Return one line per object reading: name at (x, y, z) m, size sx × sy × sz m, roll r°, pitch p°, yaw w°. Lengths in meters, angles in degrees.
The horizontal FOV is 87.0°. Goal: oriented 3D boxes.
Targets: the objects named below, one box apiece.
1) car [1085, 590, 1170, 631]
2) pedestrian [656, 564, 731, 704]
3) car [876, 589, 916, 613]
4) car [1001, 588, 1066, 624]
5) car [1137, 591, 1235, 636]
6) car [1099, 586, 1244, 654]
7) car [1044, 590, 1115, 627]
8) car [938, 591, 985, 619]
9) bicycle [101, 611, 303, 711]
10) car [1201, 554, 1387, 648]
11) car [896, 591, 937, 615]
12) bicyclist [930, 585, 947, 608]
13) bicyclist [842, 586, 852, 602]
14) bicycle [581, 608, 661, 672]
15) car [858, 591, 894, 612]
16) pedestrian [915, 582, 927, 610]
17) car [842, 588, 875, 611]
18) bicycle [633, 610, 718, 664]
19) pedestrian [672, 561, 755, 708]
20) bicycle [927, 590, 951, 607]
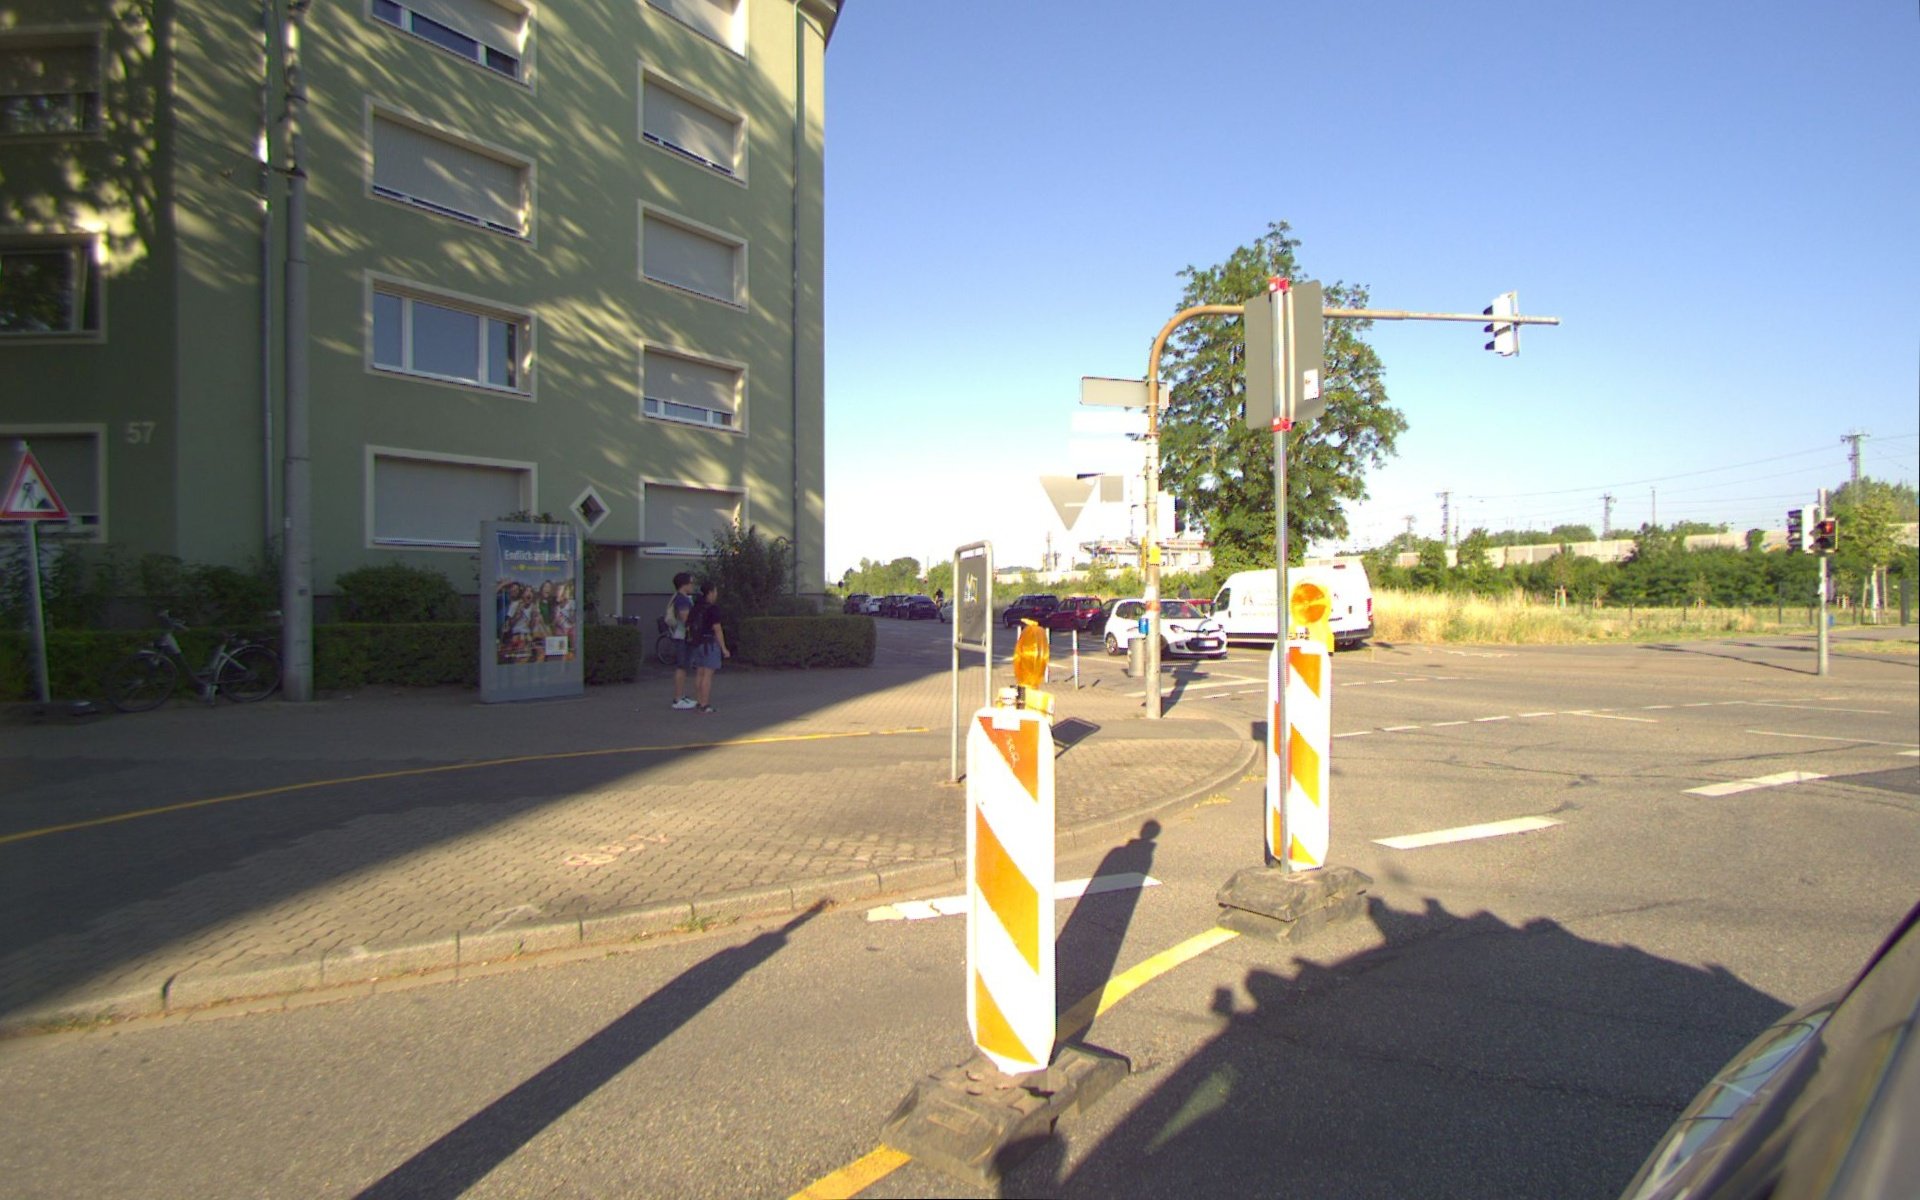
car at (6.659, 0.383, 40.644) m, size 1.710 × 1.549 × 3.824 m, roll -1°, pitch 0°, yaw -20°
pedestrian at (-3.514, 0.419, 13.318) m, size 0.779 × 1.772 × 0.694 m, roll -1°, pitch 0°, yaw -30°
car at (-4.657, 0.050, 73.103) m, size 1.787 × 1.658 × 4.228 m, roll -1°, pitch 0°, yaw -18°
car at (3.519, 0.259, 49.035) m, size 1.630 × 1.680 × 4.014 m, roll -1°, pitch 0°, yaw -20°
car at (8.087, 0.447, 36.503) m, size 1.710 × 1.505 × 3.702 m, roll -1°, pitch 0°, yaw -20°
car at (5.071, 0.435, 24.733) m, size 1.670 × 1.487 × 3.783 m, roll -1°, pitch 0°, yaw -21°
car at (5.242, 0.353, 44.733) m, size 1.630 × 1.549 × 3.586 m, roll -1°, pitch 0°, yaw -20°
car at (0.039, 0.258, 59.201) m, size 1.672 × 1.545 × 3.590 m, roll -1°, pitch 0°, yaw -19°
bicycle at (-9.111, 0.697, 12.229) m, size 1.903 × 1.070 × 0.519 m, roll -1°, pitch 0°, yaw -45°
car at (9.882, 0.002, 30.531) m, size 2.190 × 2.466 × 5.572 m, roll -4°, pitch 2°, yaw -21°
car at (-2.924, 0.173, 67.652) m, size 1.787 × 1.545 × 4.298 m, roll -1°, pitch 0°, yaw -16°
bicyclist at (-1.526, -0.234, 72.530) m, size 0.849 × 1.617 × 1.148 m, roll -1°, pitch 0°, yaw -22°
bicyclist at (-11.157, -0.604, 100.110) m, size 0.753 × 1.617 × 1.148 m, roll -1°, pitch 0°, yaw -18°
bicycle at (-6.046, 0.687, 17.968) m, size 1.927 × 1.070 × 0.513 m, roll 0°, pitch 0°, yaw 44°
car at (-6.524, 0.095, 78.173) m, size 1.787 × 1.594 × 4.228 m, roll -1°, pitch 0°, yaw -18°
pedestrian at (-2.943, -0.308, 76.296) m, size 0.603 × 2.039 × 0.732 m, roll -1°, pitch 0°, yaw -22°
car at (-8.441, -0.077, 83.755) m, size 1.852 × 1.798 × 4.228 m, roll -1°, pitch 0°, yaw -18°
bicycle at (-5.788, 0.733, 20.556) m, size 1.835 × 1.015 × 0.638 m, roll 0°, pitch 0°, yaw 34°
pedestrian at (-3.102, 0.409, 12.715) m, size 0.780 × 1.772 × 0.693 m, roll -1°, pitch 0°, yaw -38°
bicycle at (-1.493, -0.098, 72.593) m, size 0.921 × 1.203 × 2.487 m, roll 0°, pitch 1°, yaw -22°
